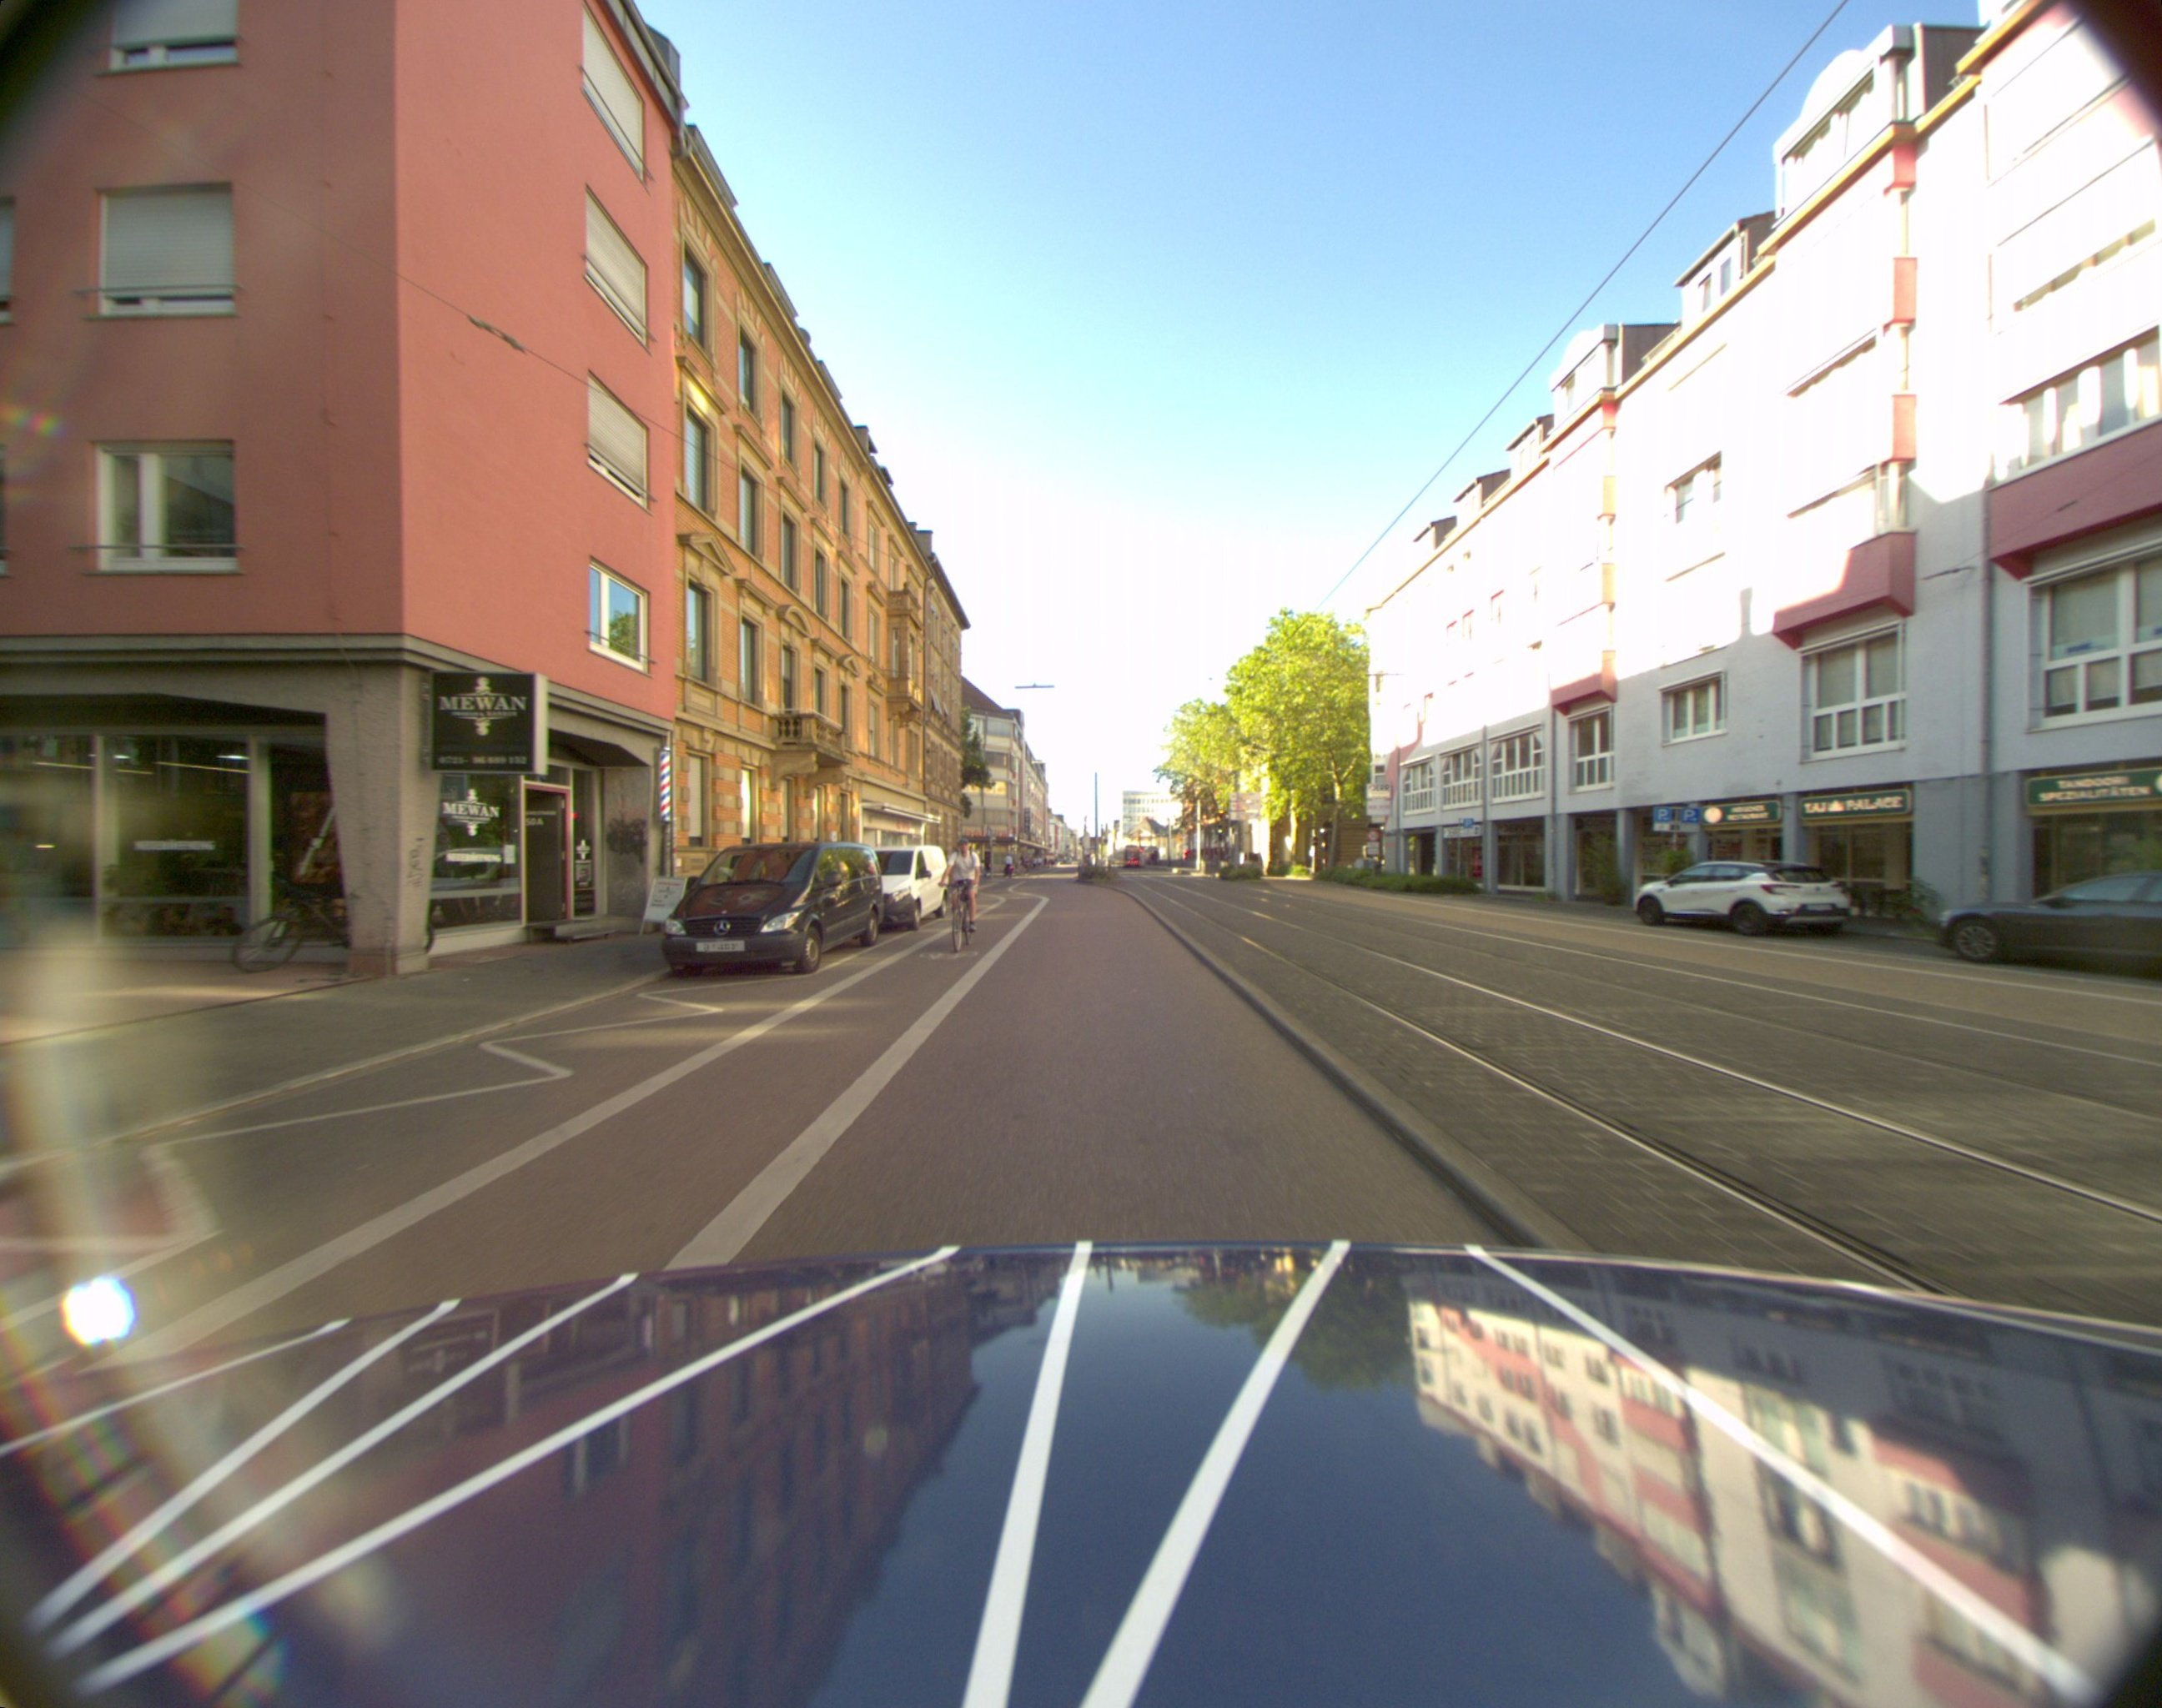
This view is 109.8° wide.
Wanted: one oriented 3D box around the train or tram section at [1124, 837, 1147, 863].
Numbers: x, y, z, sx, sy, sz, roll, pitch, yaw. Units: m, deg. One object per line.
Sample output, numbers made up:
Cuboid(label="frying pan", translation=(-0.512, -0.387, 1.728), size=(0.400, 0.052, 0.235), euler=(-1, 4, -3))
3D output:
Cuboid(label="train or tram section", translation=(8.367, -0.540, 118.959), size=(2.981, 3.622, 16.489), euler=(-2, -1, 2))

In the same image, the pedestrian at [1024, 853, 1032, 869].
Cuboid(label="pedestrian", translation=(-5.864, 0.812, 84.350), size=(0.746, 1.717, 0.814), euler=(-2, 0, 1))

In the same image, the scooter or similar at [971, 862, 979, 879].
Cuboid(label="scooter or similar", translation=(-7.890, 1.225, 56.344), size=(0.392, 1.281, 1.520), euler=(0, 0, -15))

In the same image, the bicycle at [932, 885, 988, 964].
Cuboid(label="bicycle", translation=(-1.998, 1.140, 12.832), size=(0.649, 1.132, 2.095), euler=(-1, 0, -2))

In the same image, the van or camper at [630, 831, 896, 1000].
Cuboid(label="van or camper", translation=(-4.570, 0.759, 12.058), size=(1.976, 2.033, 5.330), euler=(-2, 0, -1))

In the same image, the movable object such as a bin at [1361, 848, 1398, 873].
Cuboid(label="movable object such as a bin", translation=(23.854, 0.513, 60.702), size=(2.643, 2.002, 1.177), euler=(0, 0, 24))

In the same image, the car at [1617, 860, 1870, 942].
Cuboid(label="car", translation=(14.893, 0.970, 17.482), size=(1.922, 1.604, 4.369), euler=(0, 0, -2))

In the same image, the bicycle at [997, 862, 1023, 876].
Cuboid(label="bicycle", translation=(-5.553, 1.137, 59.428), size=(1.943, 1.087, 0.599), euler=(0, 0, 4))

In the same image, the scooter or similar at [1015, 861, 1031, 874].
Cuboid(label="scooter or similar", translation=(-5.698, 1.347, 74.480), size=(1.482, 1.222, 0.591), euler=(2, 0, 1))

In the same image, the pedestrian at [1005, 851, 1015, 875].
Cuboid(label="pedestrian", translation=(-5.538, 0.718, 59.365), size=(0.594, 1.811, 0.942), euler=(-2, 0, 4))

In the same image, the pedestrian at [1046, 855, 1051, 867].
Cuboid(label="pedestrian", translation=(-4.624, 0.982, 108.083), size=(0.669, 1.718, 0.810), euler=(3, 0, 0))

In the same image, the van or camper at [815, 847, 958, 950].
Cuboid(label="van or camper", translation=(-4.369, 0.874, 18.071), size=(1.936, 2.025, 5.474), euler=(-1, 1, 0))

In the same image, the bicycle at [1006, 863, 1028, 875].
Cuboid(label="bicycle", translation=(-5.989, 1.379, 71.151), size=(1.951, 1.100, 0.564), euler=(0, 0, -1))

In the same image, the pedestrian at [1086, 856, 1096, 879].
Cuboid(label="pedestrian", translation=(0.717, 0.964, 54.471), size=(0.519, 1.581, 0.667), euler=(-3, 1, -9))

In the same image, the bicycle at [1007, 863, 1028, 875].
Cuboid(label="bicycle", translation=(-6.013, 1.377, 71.799), size=(1.951, 1.100, 0.564), euler=(0, 0, -1))

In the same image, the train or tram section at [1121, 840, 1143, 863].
Cuboid(label="train or tram section", translation=(8.867, -0.387, 134.070), size=(2.981, 3.623, 13.945), euler=(-2, 0, 1))

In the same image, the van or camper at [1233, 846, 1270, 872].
Cuboid(label="van or camper", translation=(13.543, 0.392, 60.602), size=(1.998, 1.929, 4.835), euler=(2, 0, 3))

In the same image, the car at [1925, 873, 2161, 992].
Cuboid(label="car", translation=(14.720, 1.035, 9.974), size=(1.906, 1.449, 4.826), euler=(0, 0, 0))

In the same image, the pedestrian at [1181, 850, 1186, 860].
Cuboid(label="pedestrian", translation=(19.112, 0.171, 142.124), size=(0.791, 1.905, 0.665), euler=(0, 0, -1))

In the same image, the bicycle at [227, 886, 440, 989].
Cuboid(label="bicycle", translation=(-9.334, 0.998, 9.570), size=(0.426, 1.126, 1.885), euler=(1, 0, 42))

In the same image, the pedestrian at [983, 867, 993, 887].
Cuboid(label="pedestrian", translation=(-6.553, 1.632, 53.571), size=(0.581, 1.406, 0.575), euler=(-1, 1, -13))

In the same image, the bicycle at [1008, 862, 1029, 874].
Cuboid(label="bicycle", translation=(-6.052, 1.365, 73.828), size=(1.951, 1.100, 0.564), euler=(0, 0, -1))

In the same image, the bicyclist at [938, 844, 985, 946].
Cuboid(label="bicyclist", translation=(-2.007, 0.670, 12.879), size=(0.656, 1.646, 0.927), euler=(-1, 1, -2))
